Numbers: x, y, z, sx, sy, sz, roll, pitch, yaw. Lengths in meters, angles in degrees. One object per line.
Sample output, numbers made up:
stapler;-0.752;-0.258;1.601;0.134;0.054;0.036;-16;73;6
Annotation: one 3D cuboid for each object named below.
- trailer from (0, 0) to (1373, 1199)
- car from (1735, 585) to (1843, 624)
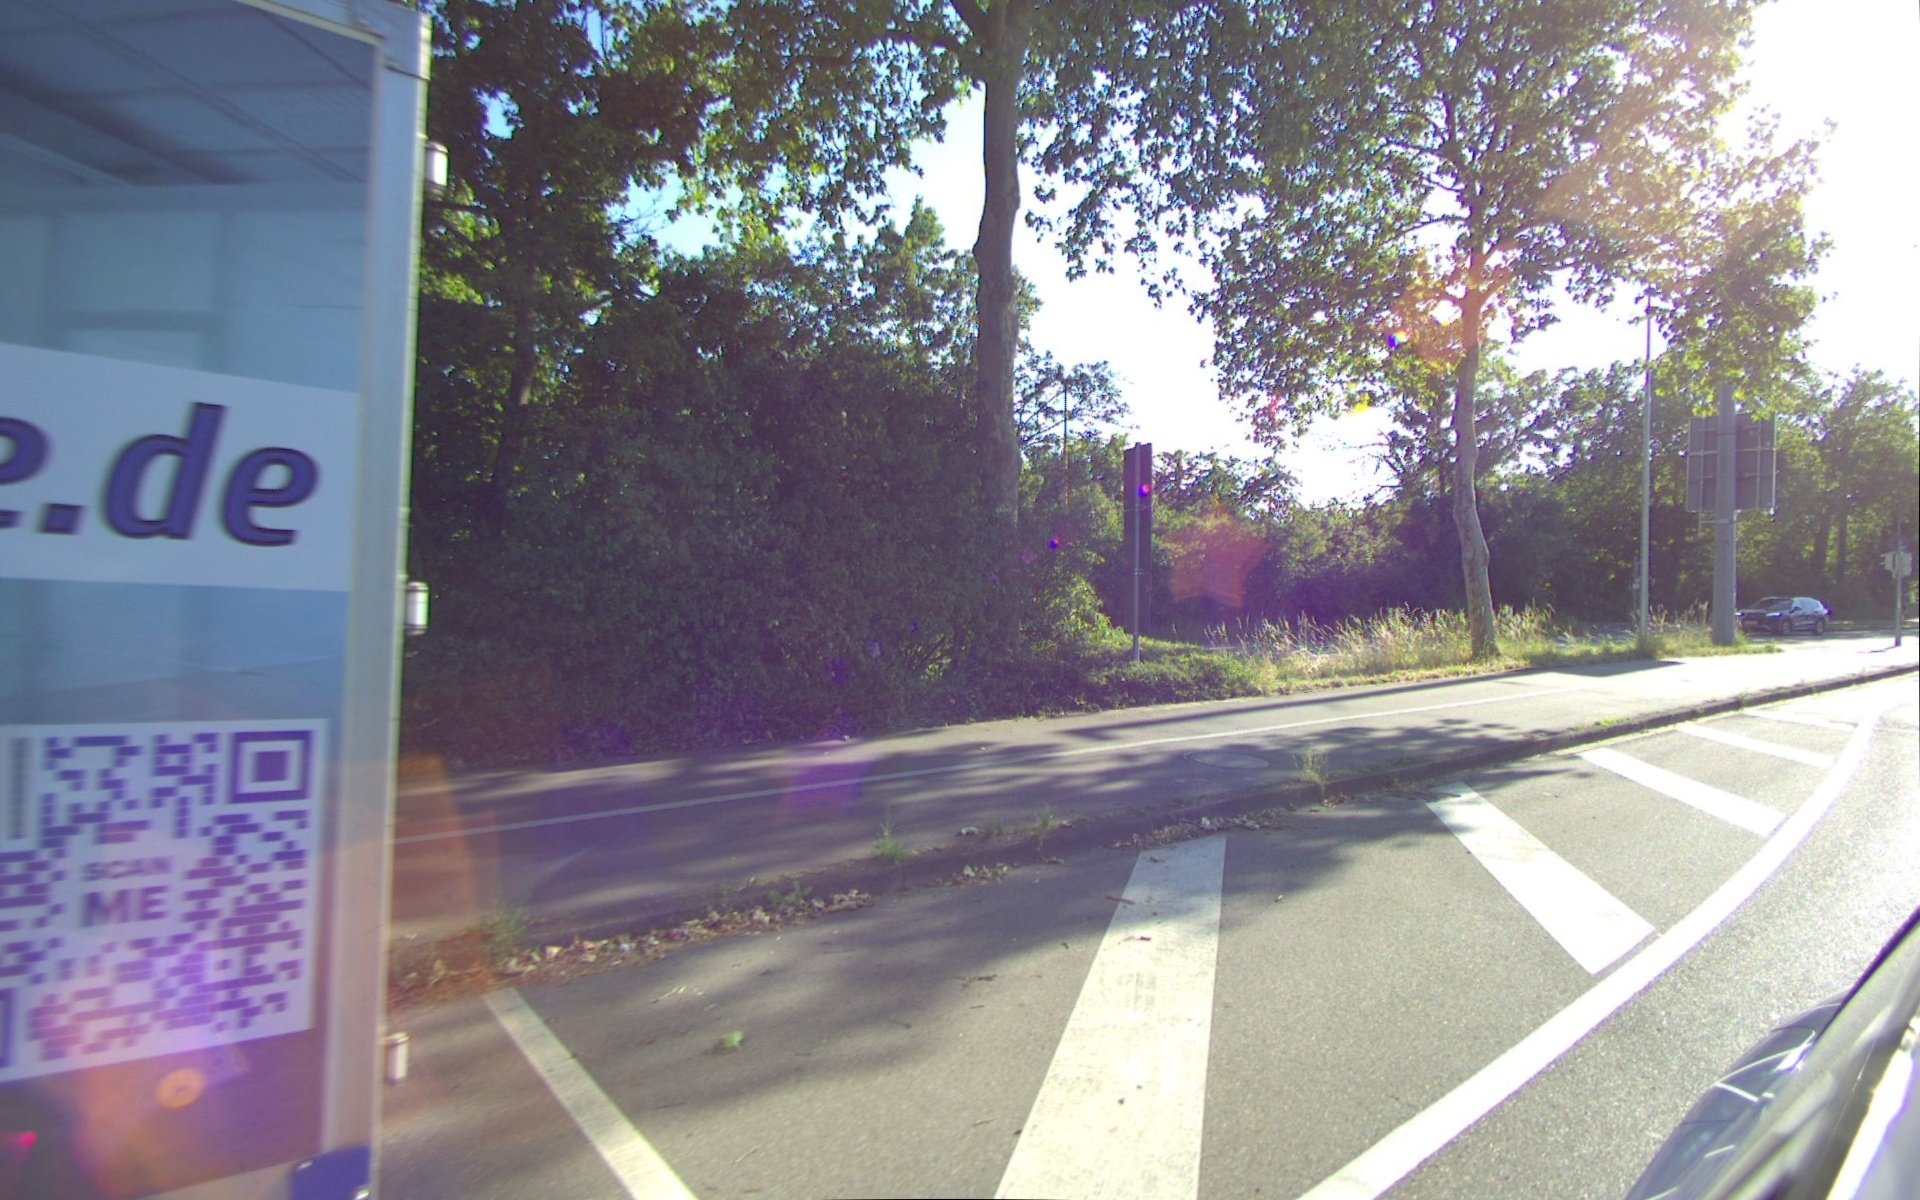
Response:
trailer;-1.782;0.093;2.323;5.833;2.728;2.259;0;0;-35
car;35.844;0.173;43.755;3.916;1.638;1.829;0;1;-19
